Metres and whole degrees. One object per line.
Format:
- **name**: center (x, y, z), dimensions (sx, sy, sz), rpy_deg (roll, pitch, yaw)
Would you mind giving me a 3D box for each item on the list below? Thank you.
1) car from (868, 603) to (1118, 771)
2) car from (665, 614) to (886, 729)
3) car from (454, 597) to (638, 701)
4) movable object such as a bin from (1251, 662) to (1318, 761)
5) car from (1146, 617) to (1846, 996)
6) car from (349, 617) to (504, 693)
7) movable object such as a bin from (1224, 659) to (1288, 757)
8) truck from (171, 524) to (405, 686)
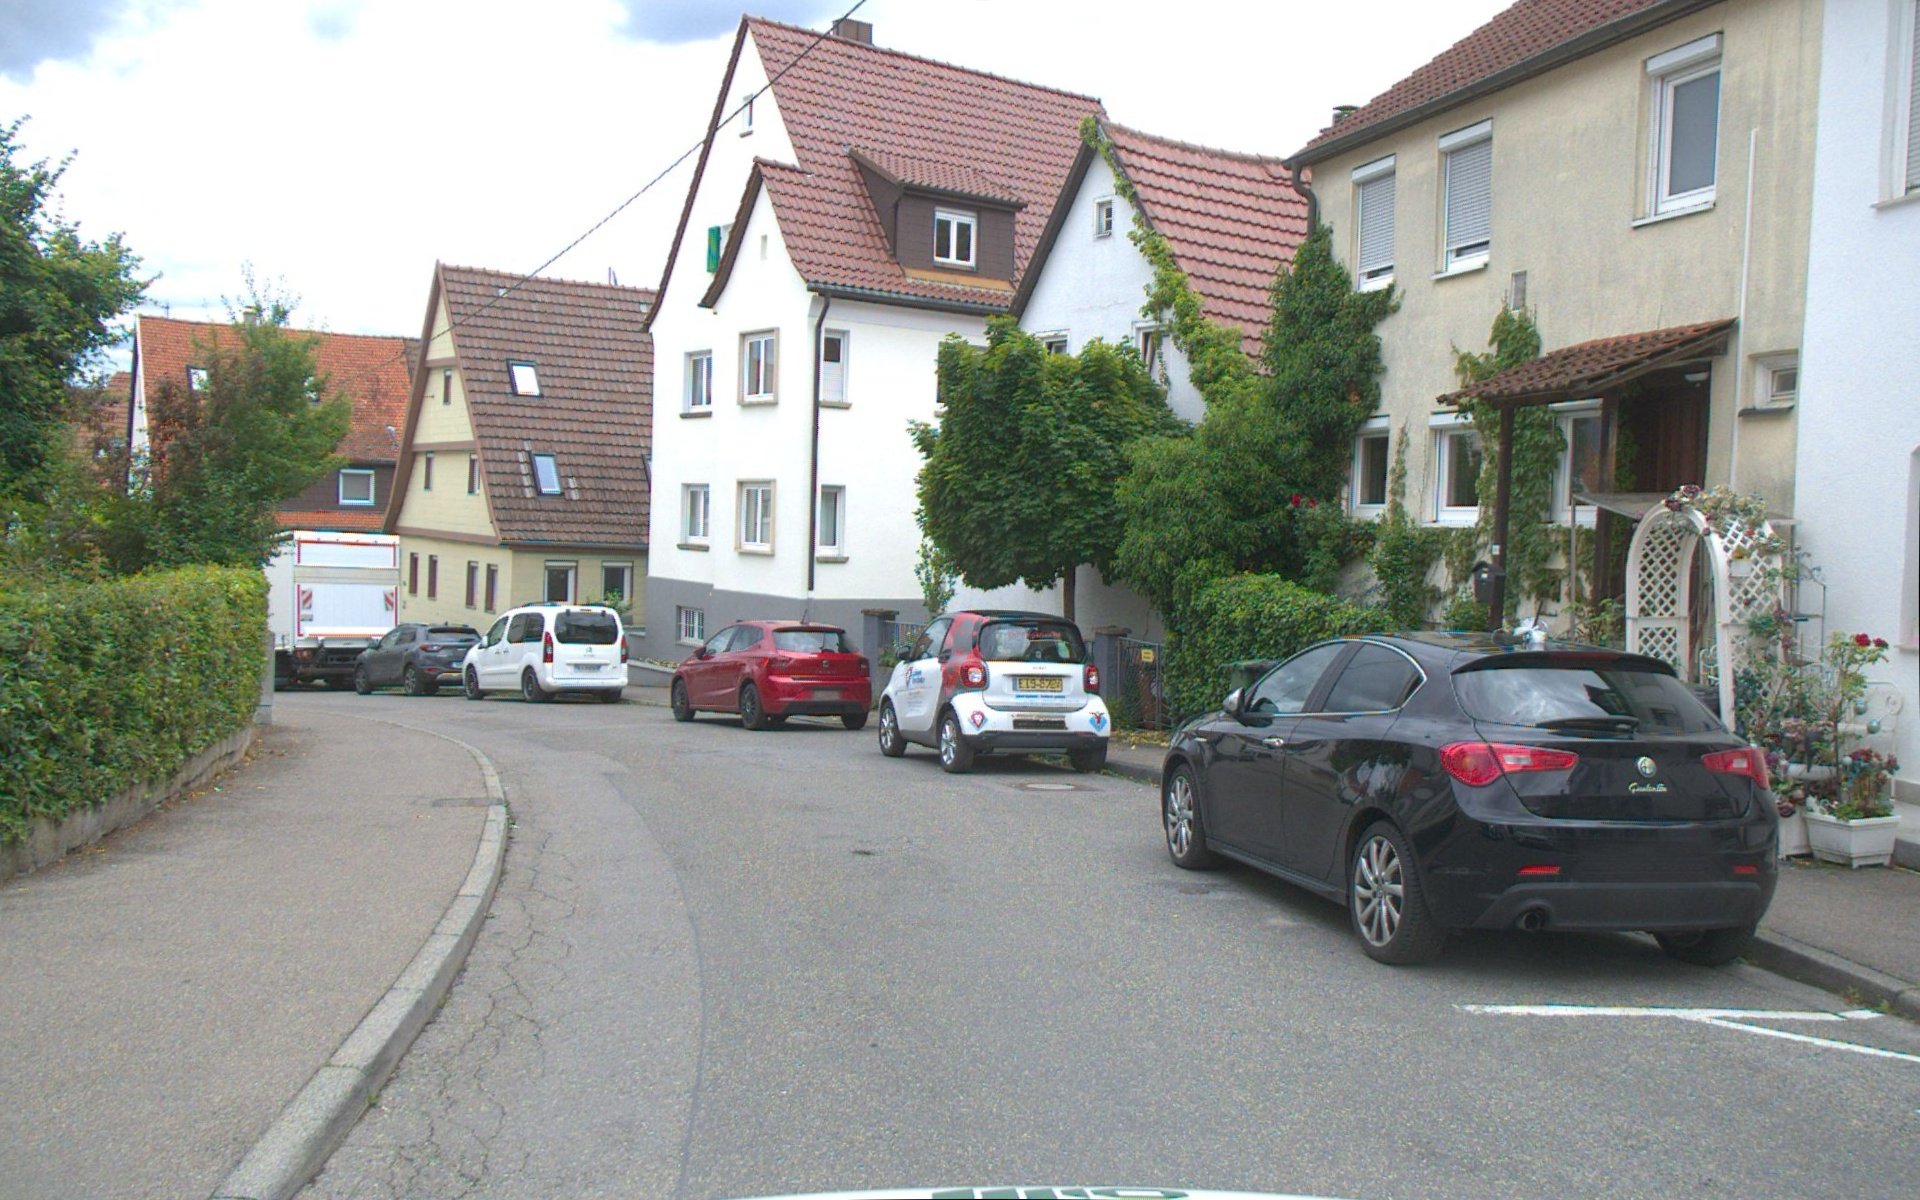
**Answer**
- **car**: center (0.262, 0.859, 17.050), dimensions (1.588, 1.559, 2.878), rpy_deg (2, -2, -21)
- **car**: center (-2.670, 0.970, 23.213), dimensions (1.662, 1.477, 3.811), rpy_deg (1, -2, -31)
- **car**: center (-7.999, 0.940, 31.719), dimensions (1.823, 1.846, 4.243), rpy_deg (2, -2, -39)
- **movable object such as a bin**: center (3.130, 1.070, 15.977), dimensions (0.431, 0.914, 0.444), rpy_deg (-3, -1, -16)
- **car**: center (2.434, 0.862, 8.652), dimensions (1.688, 1.431, 3.990), rpy_deg (2, 0, -12)
- **car**: center (-11.562, 1.207, 35.723), dimensions (1.724, 1.533, 3.988), rpy_deg (2, -3, -42)
- **movable object such as a bin**: center (2.943, 1.067, 16.442), dimensions (0.431, 0.929, 0.444), rpy_deg (-3, -1, -16)
- **truck**: center (-16.845, 0.194, 41.119), dimensions (2.664, 3.660, 7.974), rpy_deg (1, -2, -44)
